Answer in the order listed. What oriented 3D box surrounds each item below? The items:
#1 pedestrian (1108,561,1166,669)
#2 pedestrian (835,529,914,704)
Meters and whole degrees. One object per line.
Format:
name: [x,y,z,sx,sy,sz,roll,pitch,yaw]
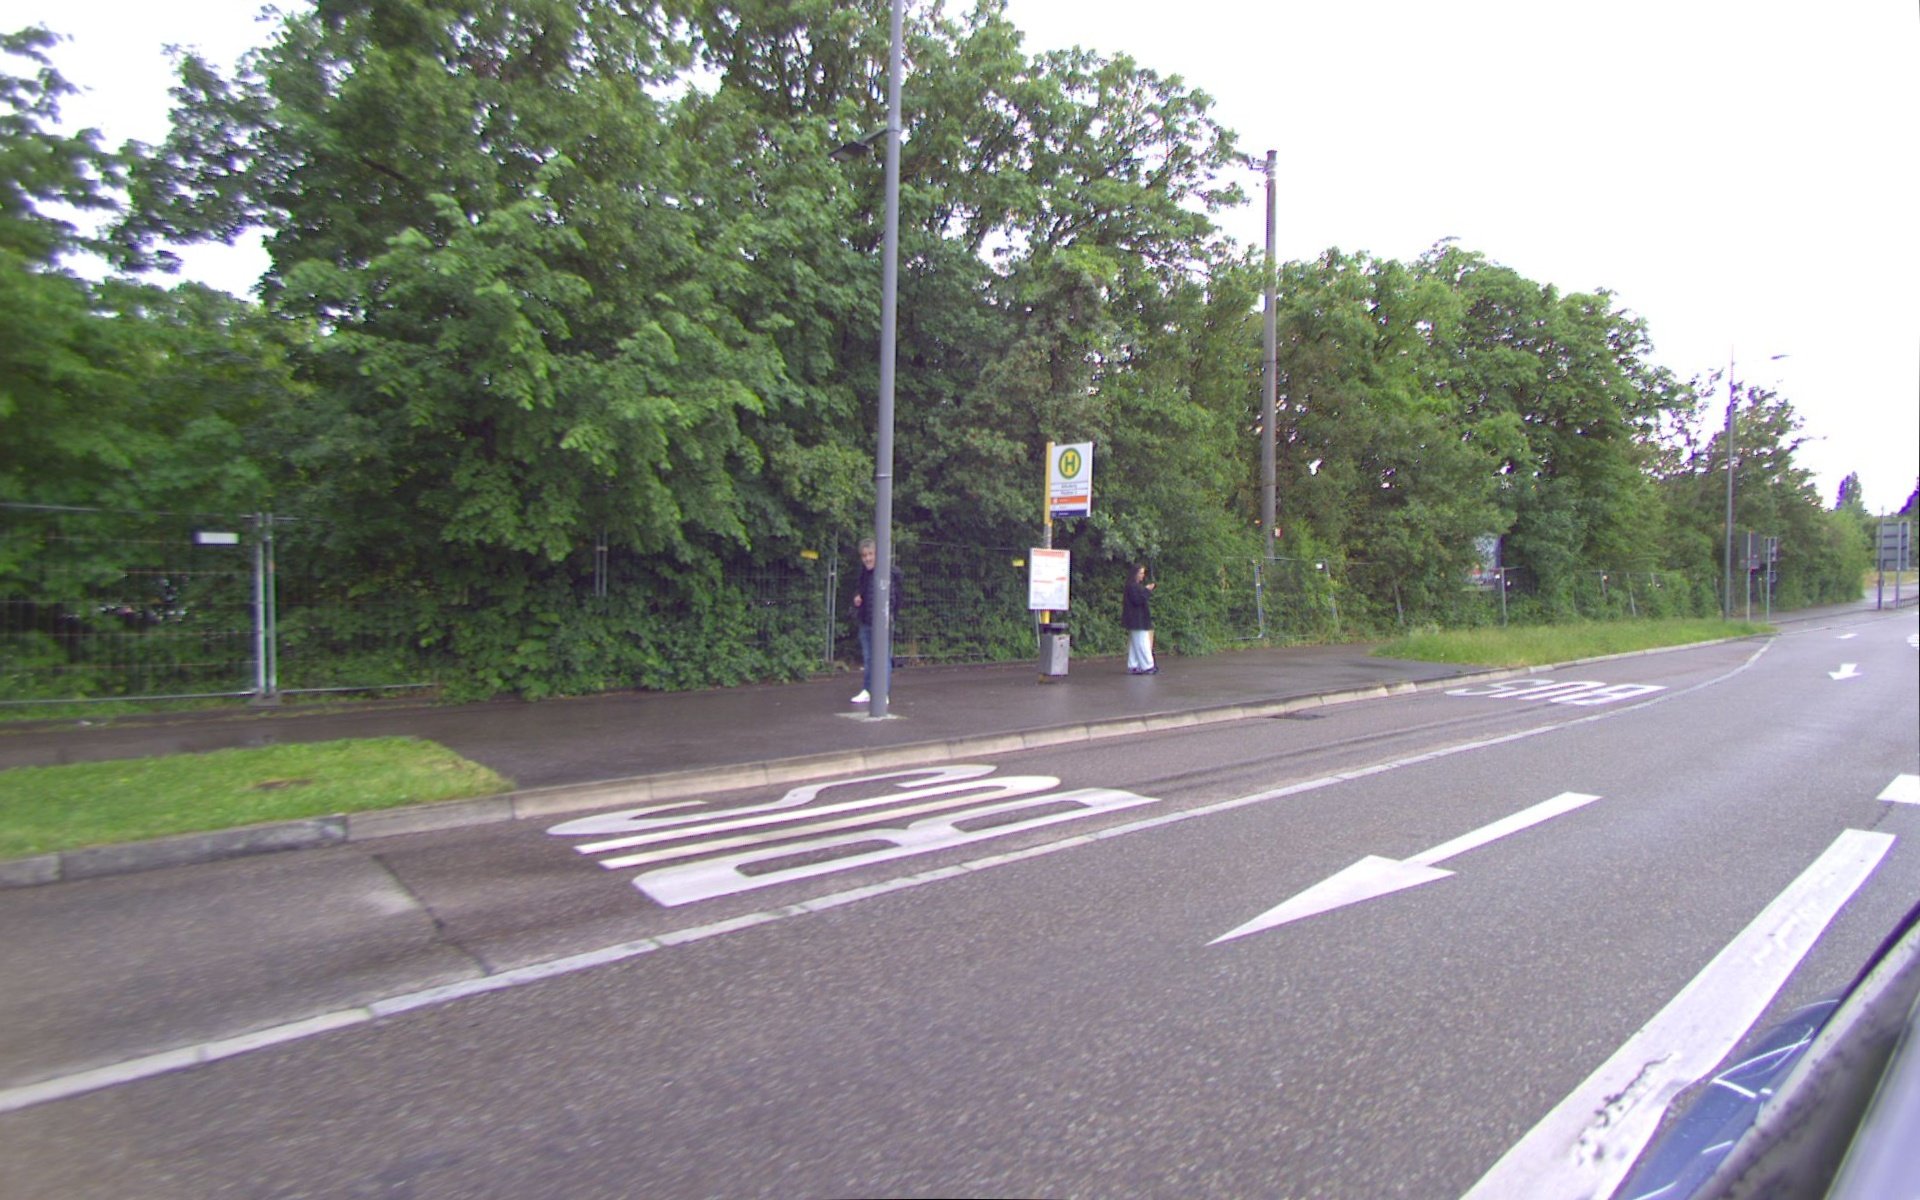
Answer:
pedestrian: [2.776,0.218,15.870,0.650,1.648,0.588,0,1,-40]
pedestrian: [-1.005,0.173,11.825,0.587,1.973,0.742,0,1,-40]
